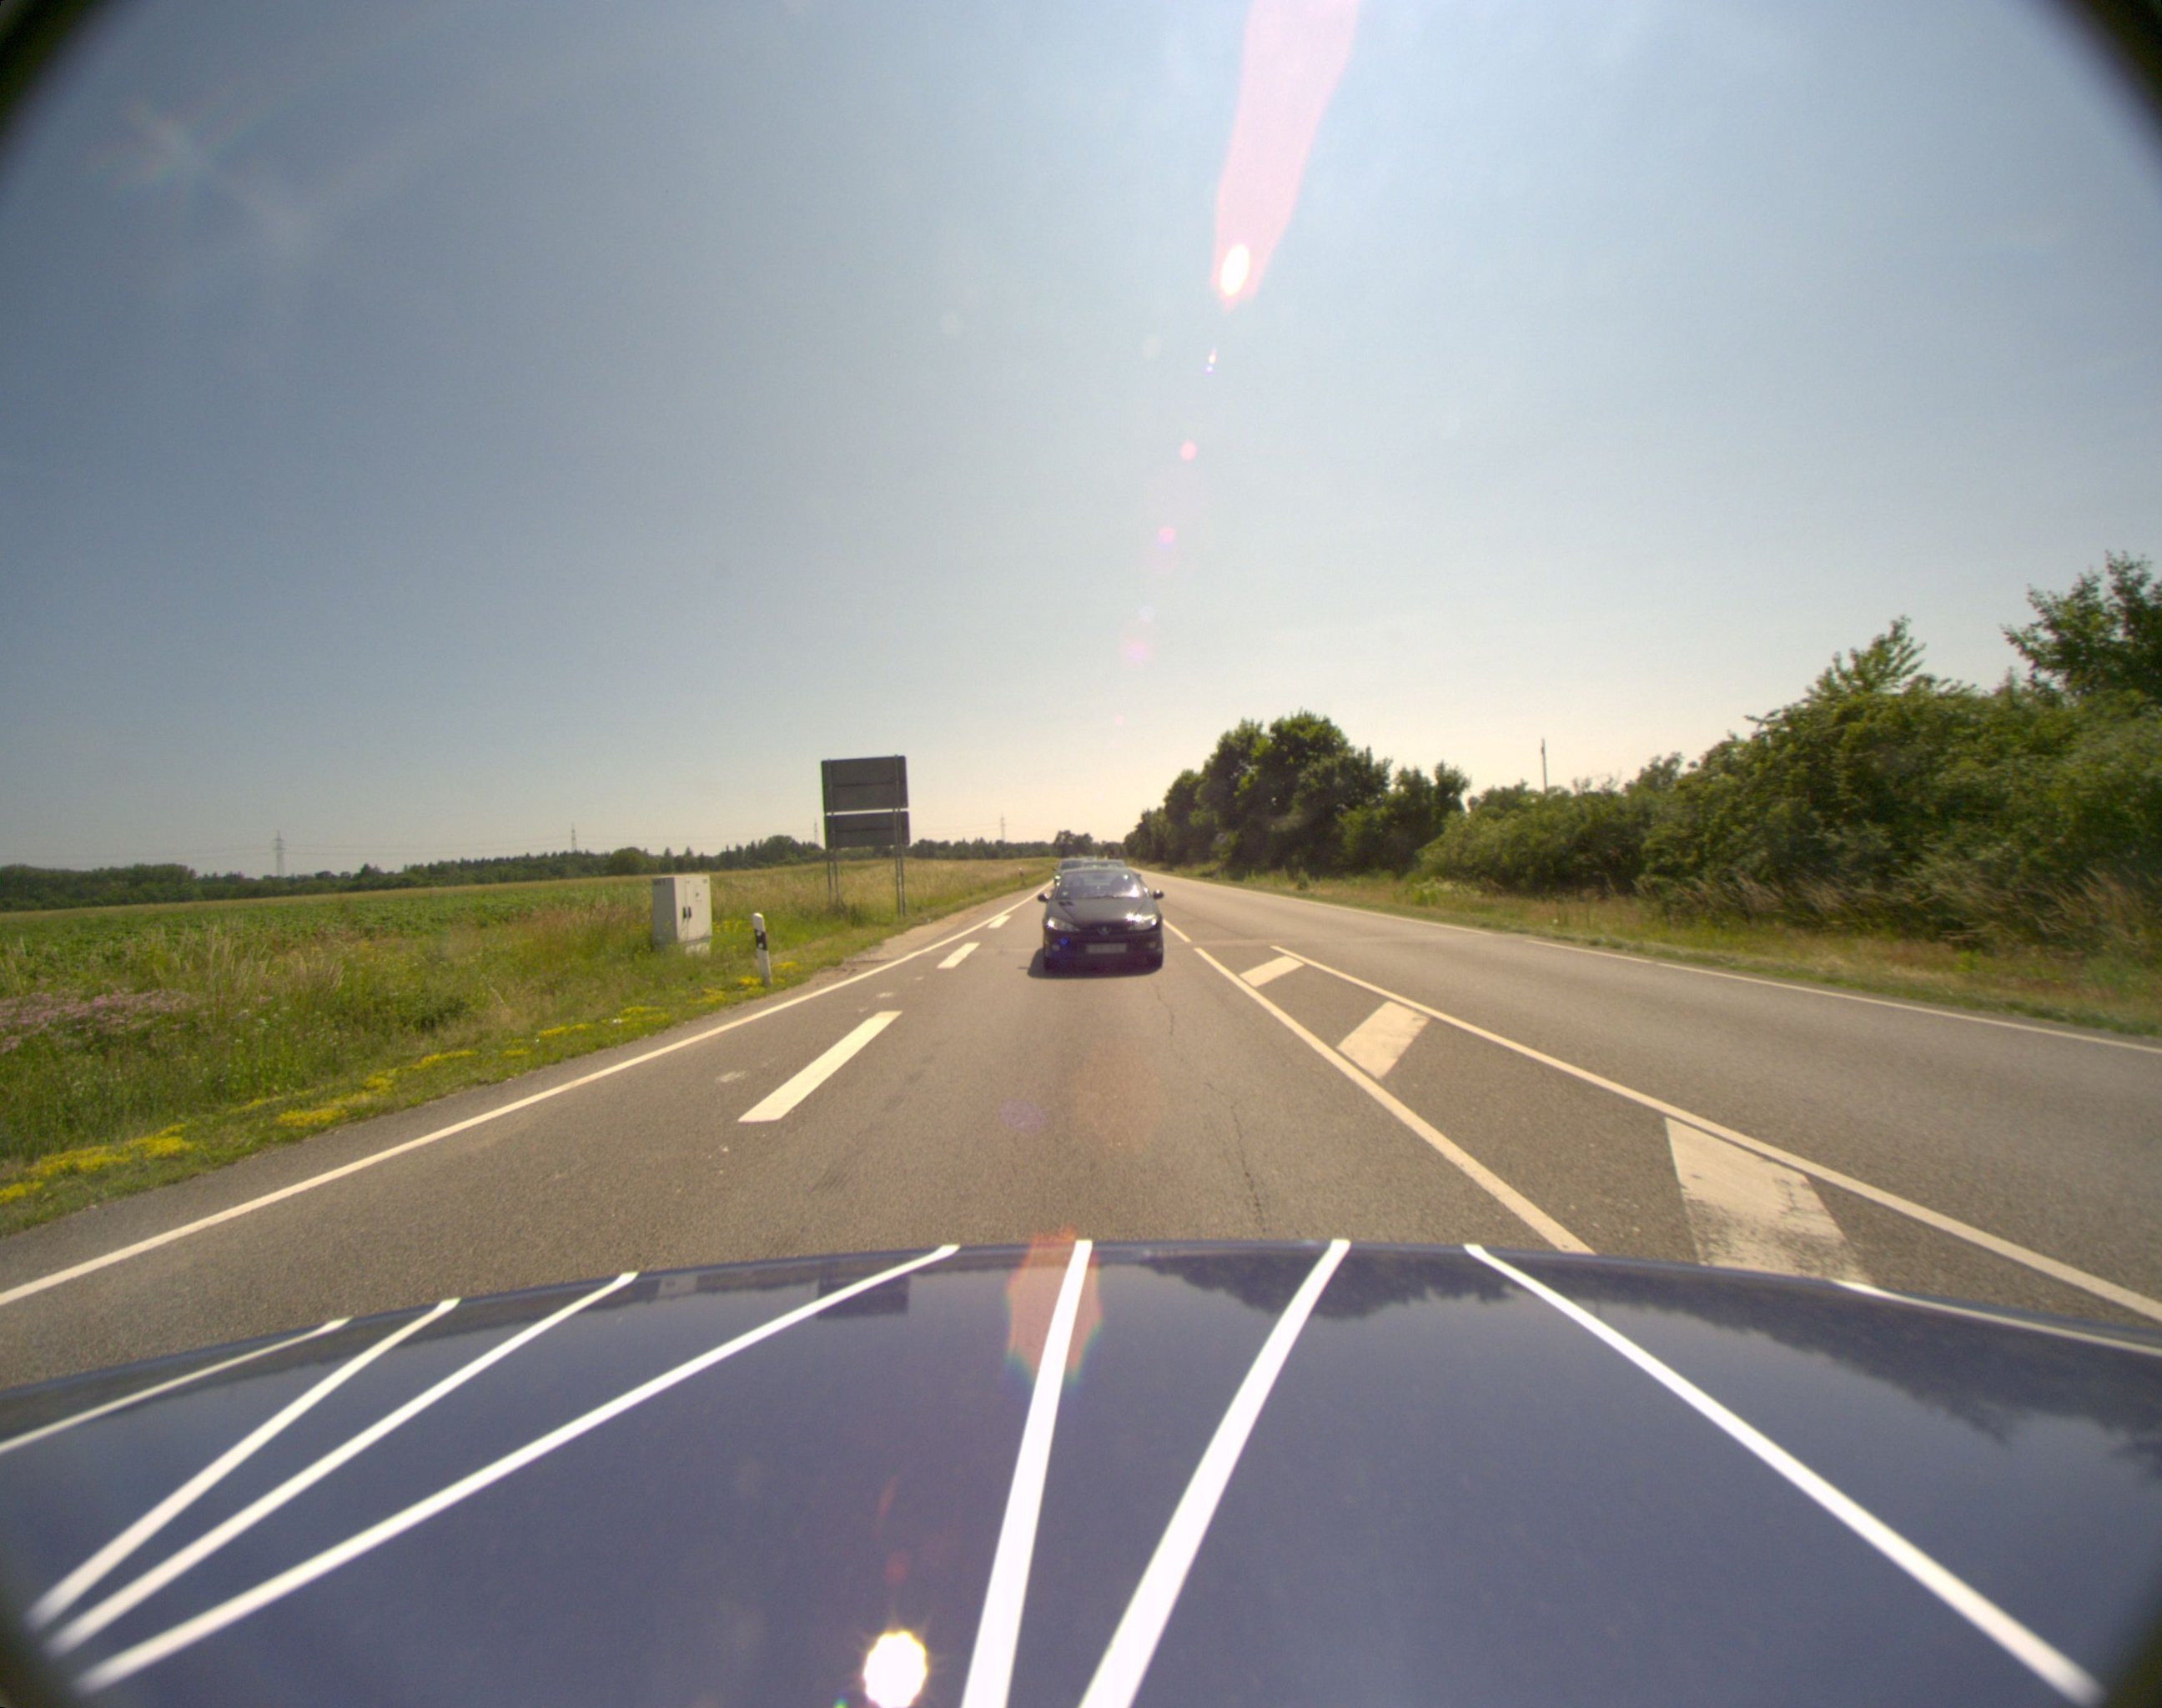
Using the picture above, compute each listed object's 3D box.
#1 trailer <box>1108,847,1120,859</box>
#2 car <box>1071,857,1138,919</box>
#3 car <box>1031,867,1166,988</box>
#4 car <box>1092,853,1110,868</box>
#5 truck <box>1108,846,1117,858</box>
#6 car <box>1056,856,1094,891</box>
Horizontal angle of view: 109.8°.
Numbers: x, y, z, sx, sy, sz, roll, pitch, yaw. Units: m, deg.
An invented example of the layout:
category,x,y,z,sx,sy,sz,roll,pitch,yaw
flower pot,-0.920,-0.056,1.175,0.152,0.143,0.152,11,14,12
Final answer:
category,x,y,z,sx,sy,sz,roll,pitch,yaw
trailer,10.285,-0.348,238.051,2.669,3.440,14.947,-1,0,-1
car,0.661,0.886,21.358,1.665,1.477,3.732,-2,0,2
car,0.248,0.957,11.445,1.665,1.389,3.731,-2,0,1
car,1.808,0.569,70.455,1.588,1.294,3.631,-2,0,1
truck,10.173,-0.571,245.553,2.709,3.908,5.951,-1,0,-1
car,-0.227,0.893,36.144,1.665,1.449,4.173,-2,0,1
